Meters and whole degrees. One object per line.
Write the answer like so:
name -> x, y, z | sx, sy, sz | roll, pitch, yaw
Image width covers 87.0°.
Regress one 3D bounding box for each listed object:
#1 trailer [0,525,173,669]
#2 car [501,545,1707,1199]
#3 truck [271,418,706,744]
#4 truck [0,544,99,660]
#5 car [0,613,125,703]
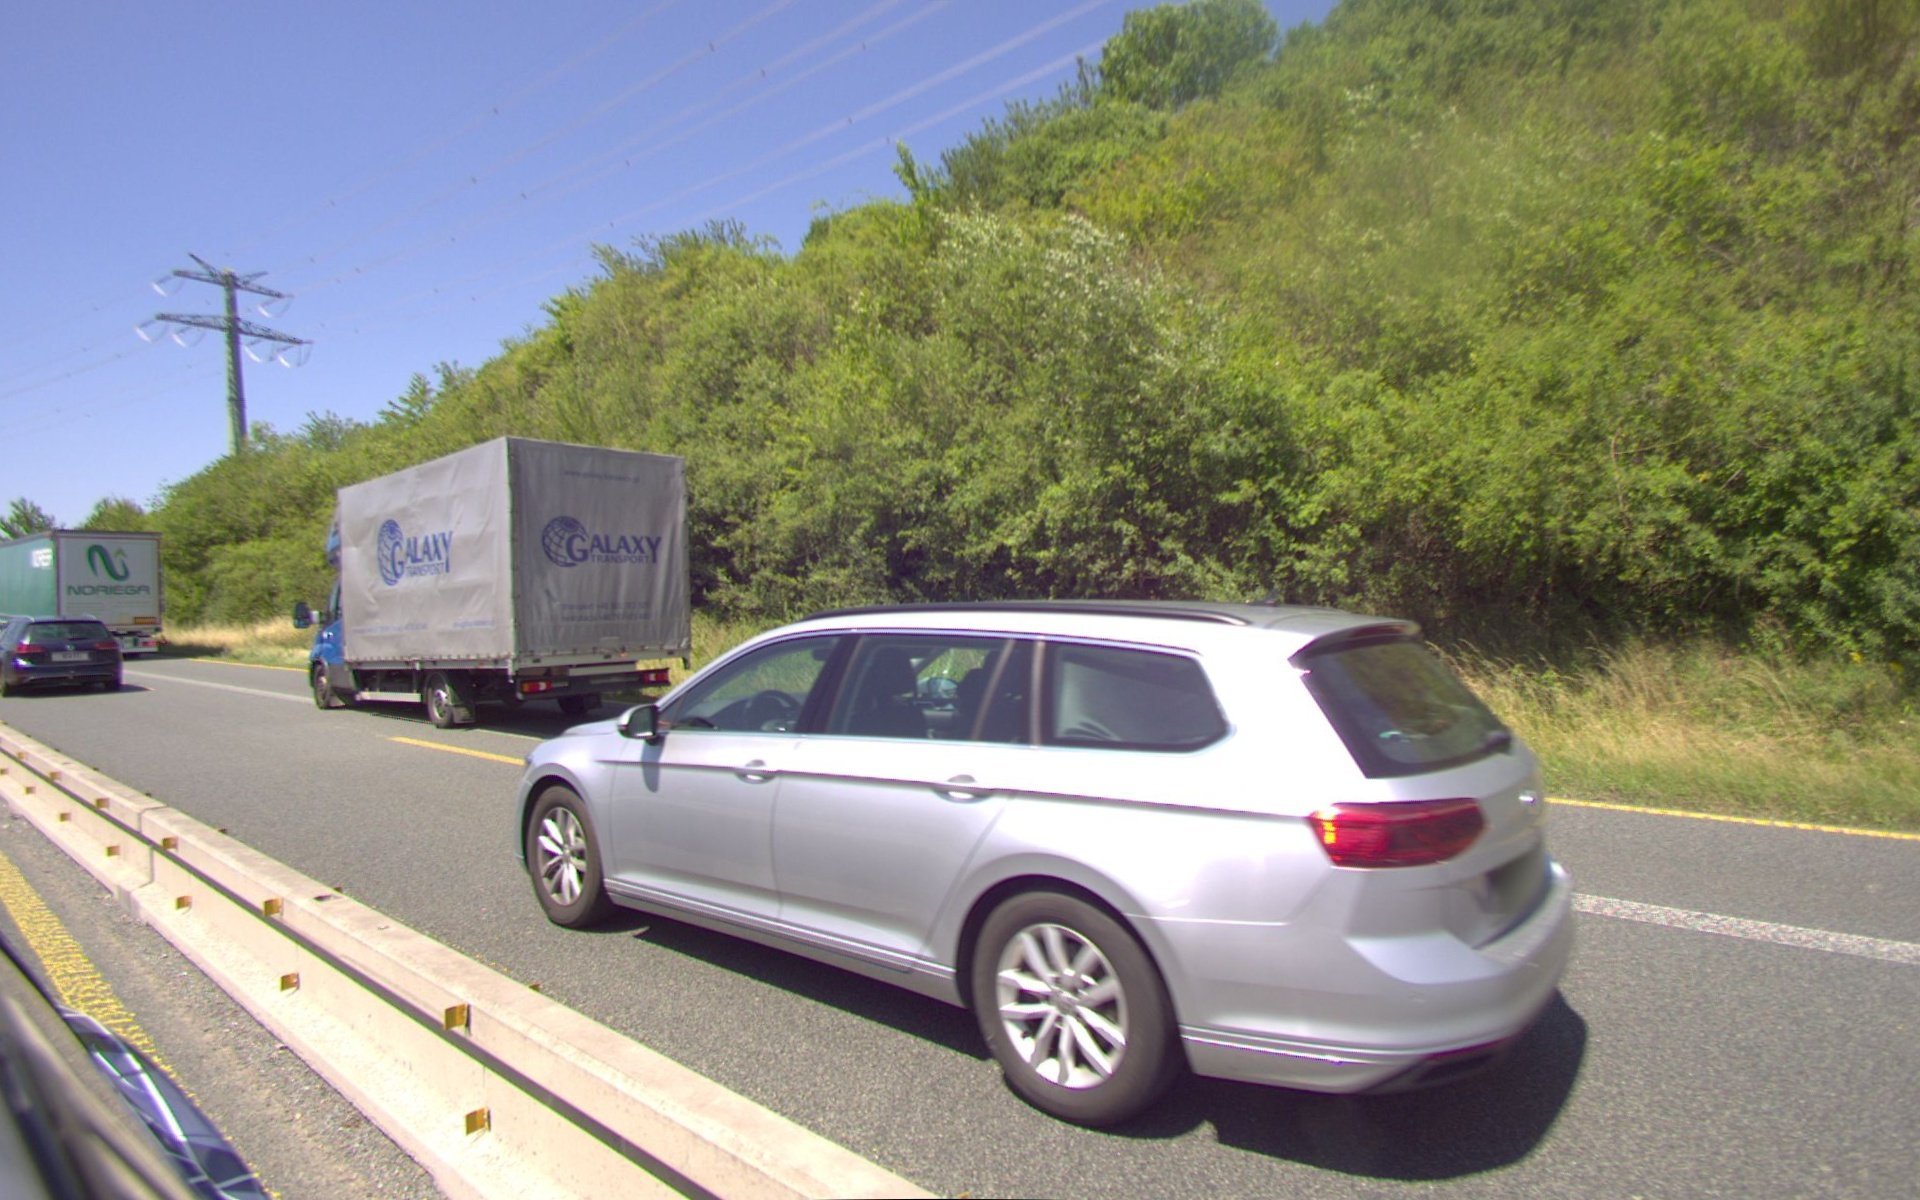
trailer -> -30.364, -0.016, 34.545 | 13.234, 4.156, 2.862 | -1, 0, 40
car -> 0.124, 0.669, 4.045 | 4.507, 1.501, 1.823 | -1, -1, 40
truck -> -6.734, -0.151, 13.775 | 7.493, 3.355, 2.381 | -1, 0, 40
truck -> -35.742, 0.099, 39.087 | 6.016, 4.149, 2.865 | -1, -1, 40
car -> -17.662, 1.033, 19.522 | 4.400, 1.501, 1.742 | -1, 1, 42
